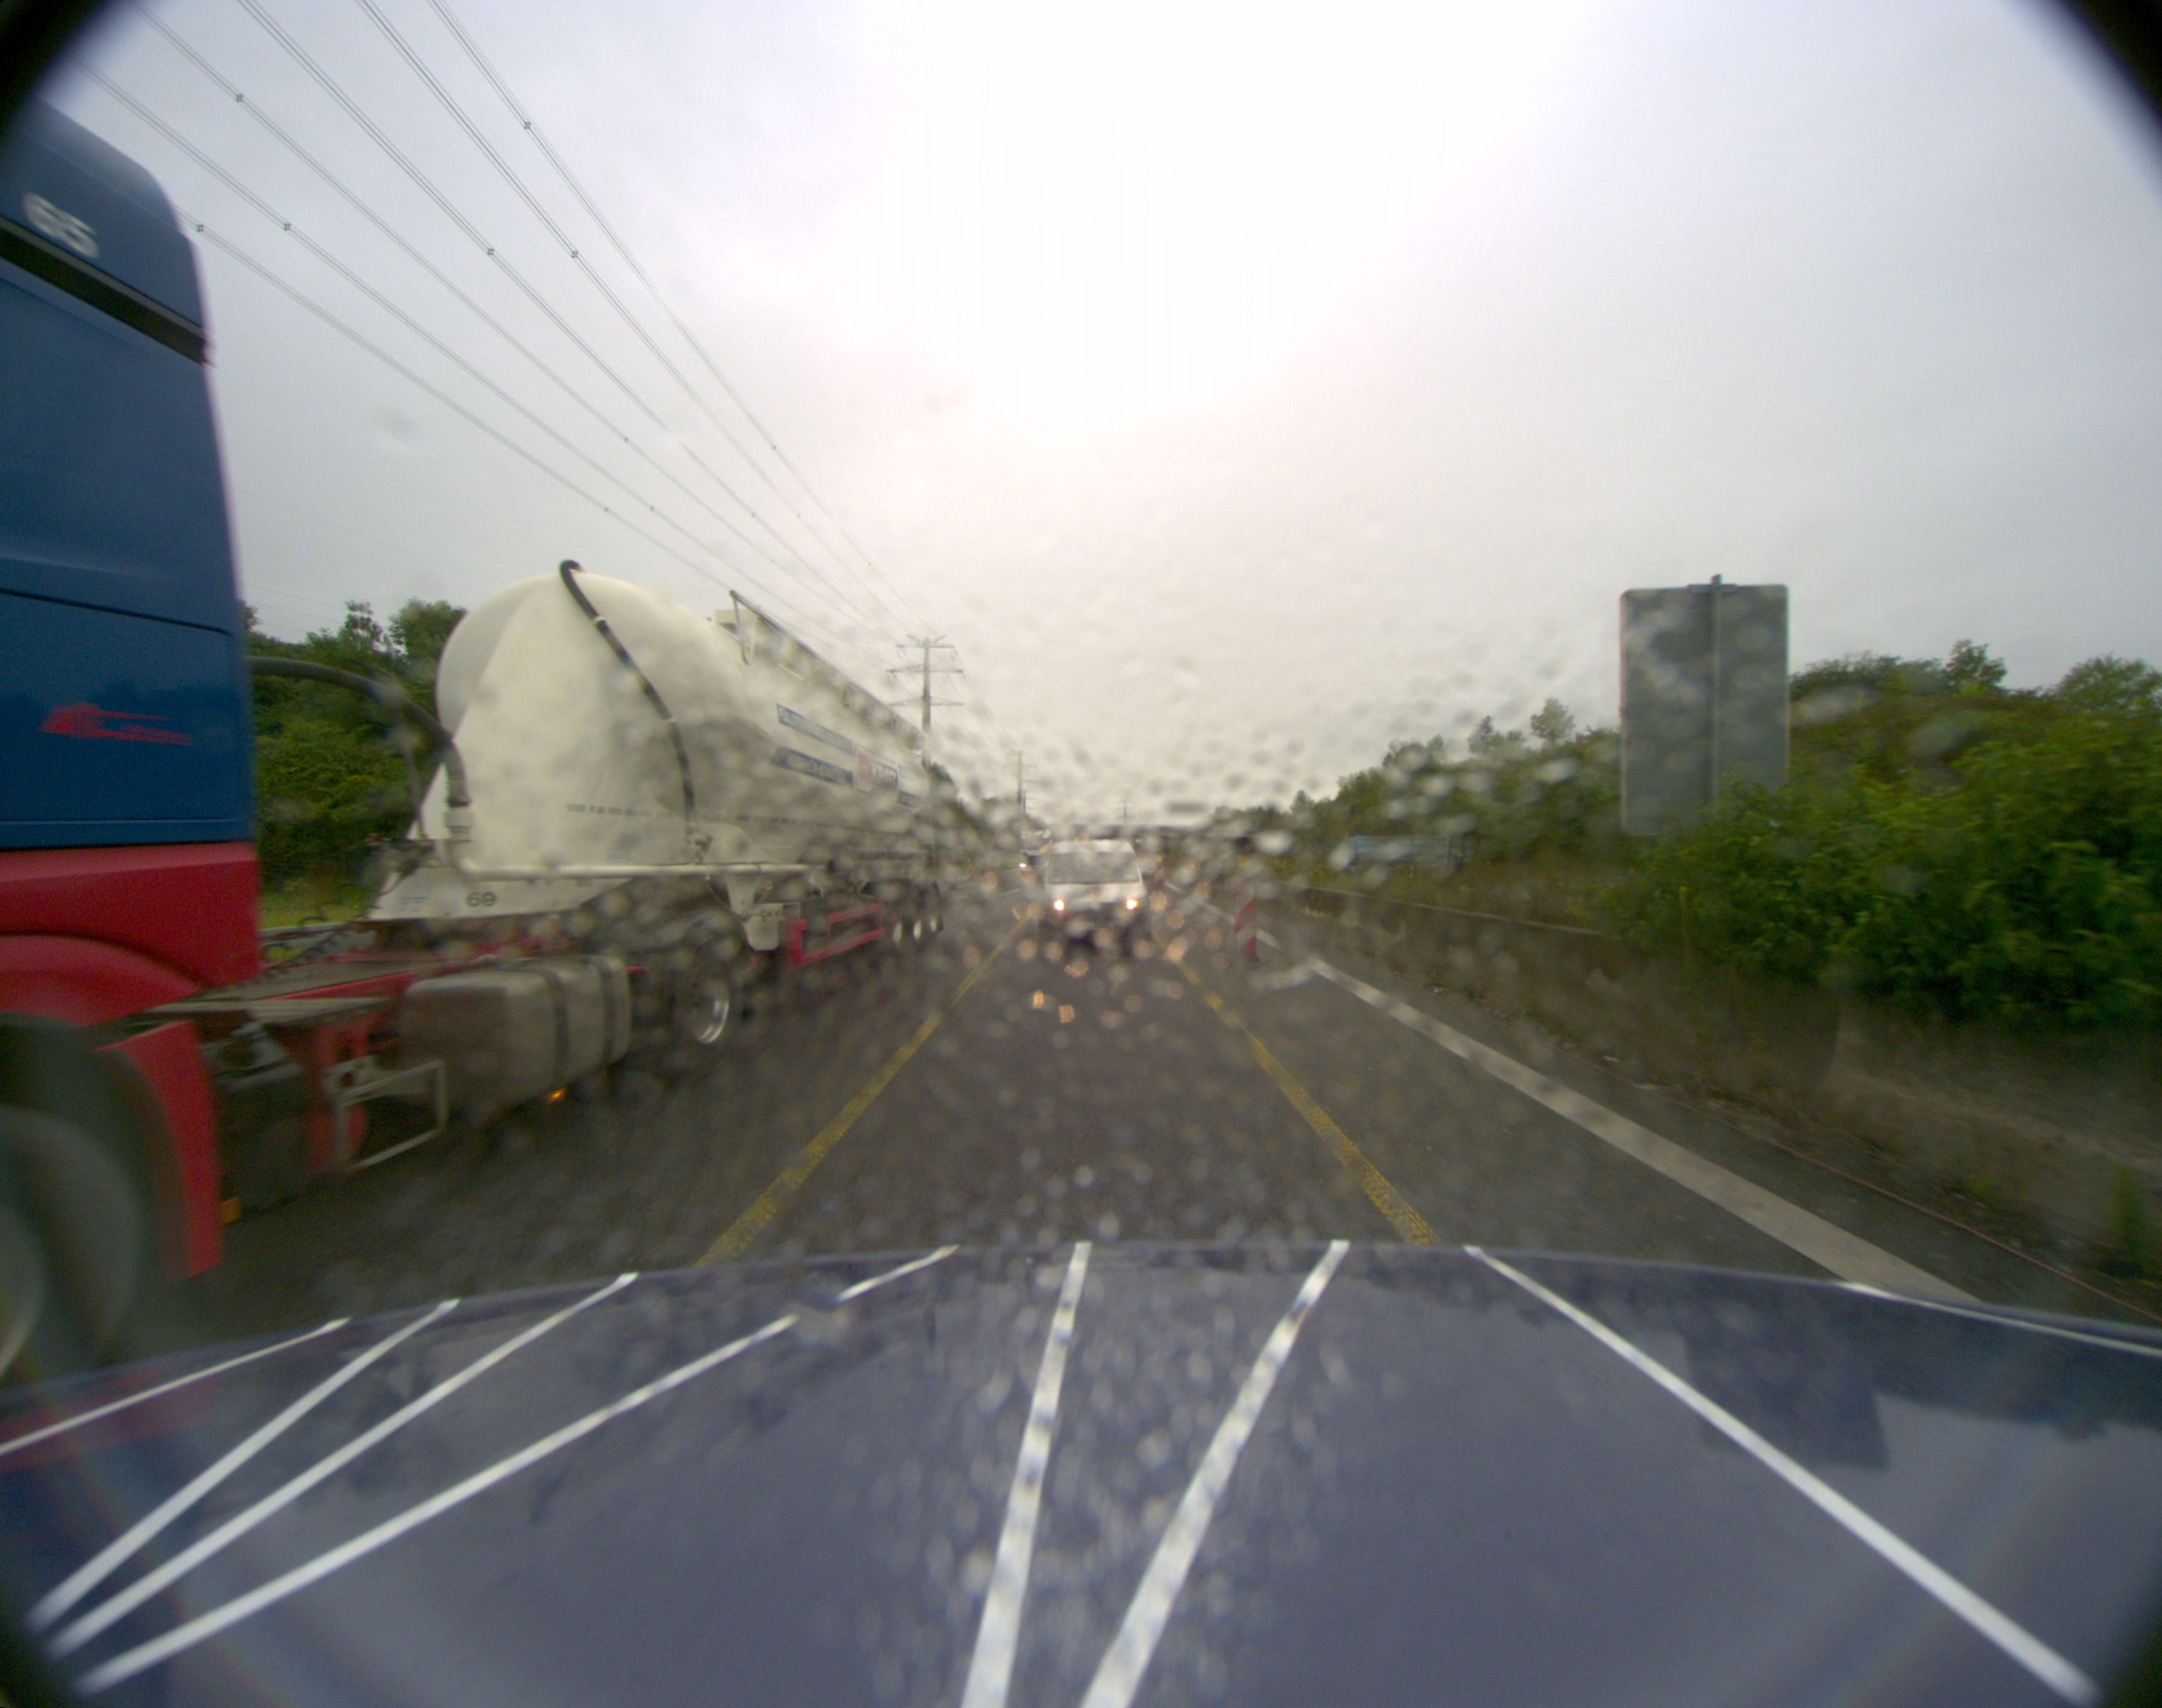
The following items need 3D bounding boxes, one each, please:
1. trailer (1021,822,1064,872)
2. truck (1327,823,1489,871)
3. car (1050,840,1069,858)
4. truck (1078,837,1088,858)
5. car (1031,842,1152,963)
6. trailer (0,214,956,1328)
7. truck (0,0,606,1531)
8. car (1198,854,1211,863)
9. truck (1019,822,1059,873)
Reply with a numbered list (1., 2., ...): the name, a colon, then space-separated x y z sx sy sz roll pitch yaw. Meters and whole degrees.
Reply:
1. trailer: -3.239 -0.686 68.127 2.808 3.980 14.147 -2 1 1
2. truck: 26.697 -0.507 63.590 2.904 3.598 14.552 0 0 -22
3. car: -2.636 -0.642 94.269 1.998 2.002 4.000 -2 1 2
4. truck: 0.439 -1.711 189.545 2.276 3.690 6.639 -2 14 2
5. car: 0.145 0.733 13.843 1.770 1.774 4.647 -2 0 0
6. trailer: -3.892 -0.326 8.814 2.526 3.812 12.349 -2 1 1
7. truck: -3.990 -0.257 2.102 2.553 3.924 4.000 -2 1 2
8. car: 24.460 0.911 150.583 1.999 1.779 4.229 0 0 0
9. truck: -3.341 -0.526 62.105 2.748 3.912 5.396 -2 1 1
